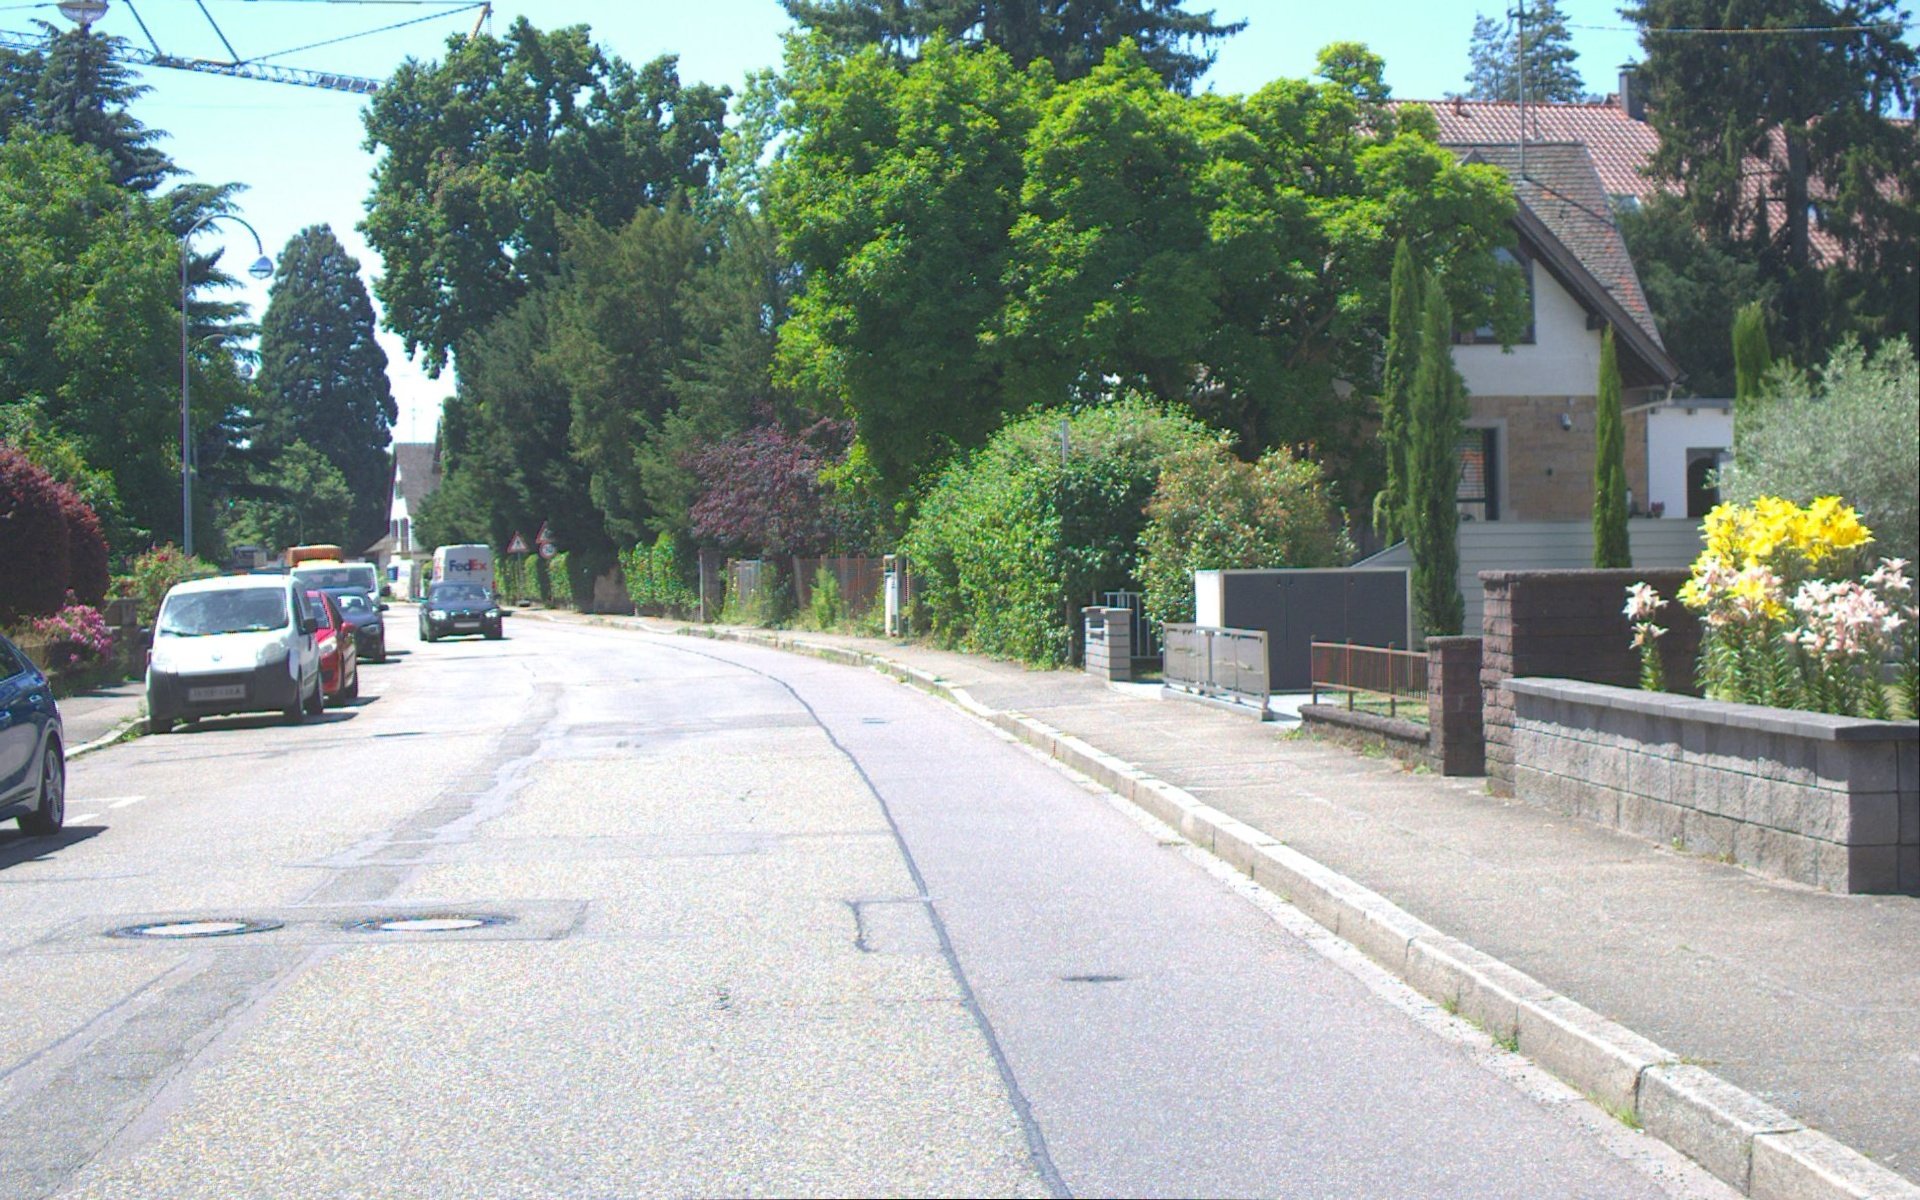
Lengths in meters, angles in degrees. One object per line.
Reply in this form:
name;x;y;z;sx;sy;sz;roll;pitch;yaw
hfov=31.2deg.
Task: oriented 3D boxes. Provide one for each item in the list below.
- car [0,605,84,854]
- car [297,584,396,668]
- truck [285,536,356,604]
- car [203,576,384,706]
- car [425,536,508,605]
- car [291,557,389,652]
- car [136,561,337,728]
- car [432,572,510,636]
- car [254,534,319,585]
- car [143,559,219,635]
car;-6.577;0.827;20.423;1.769;1.434;4.363;-3;1;-3
car;-11.525;0.466;64.764;1.698;1.379;4.237;-4;1;-9
truck;-28.040;-1.296;150.618;2.372;2.820;5.660;-3;1;-16
car;-8.689;0.500;45.105;1.760;1.472;4.059;-4;1;-4
car;-17.856;-1.070;124.164;2.143;2.307;4.854;-3;1;-17
car;-13.103;0.061;72.539;1.886;1.875;4.982;-2;1;-11
car;-8.319;0.465;39.812;1.722;1.730;3.888;-4;1;-5
car;-11.665;0.090;82.155;1.731;1.412;4.001;-3;1;-8
car;-23.645;-1.405;120.604;1.850;1.665;4.714;-4;1;-15
car;-19.134;-0.092;84.552;1.647;1.746;4.355;-3;1;-11
